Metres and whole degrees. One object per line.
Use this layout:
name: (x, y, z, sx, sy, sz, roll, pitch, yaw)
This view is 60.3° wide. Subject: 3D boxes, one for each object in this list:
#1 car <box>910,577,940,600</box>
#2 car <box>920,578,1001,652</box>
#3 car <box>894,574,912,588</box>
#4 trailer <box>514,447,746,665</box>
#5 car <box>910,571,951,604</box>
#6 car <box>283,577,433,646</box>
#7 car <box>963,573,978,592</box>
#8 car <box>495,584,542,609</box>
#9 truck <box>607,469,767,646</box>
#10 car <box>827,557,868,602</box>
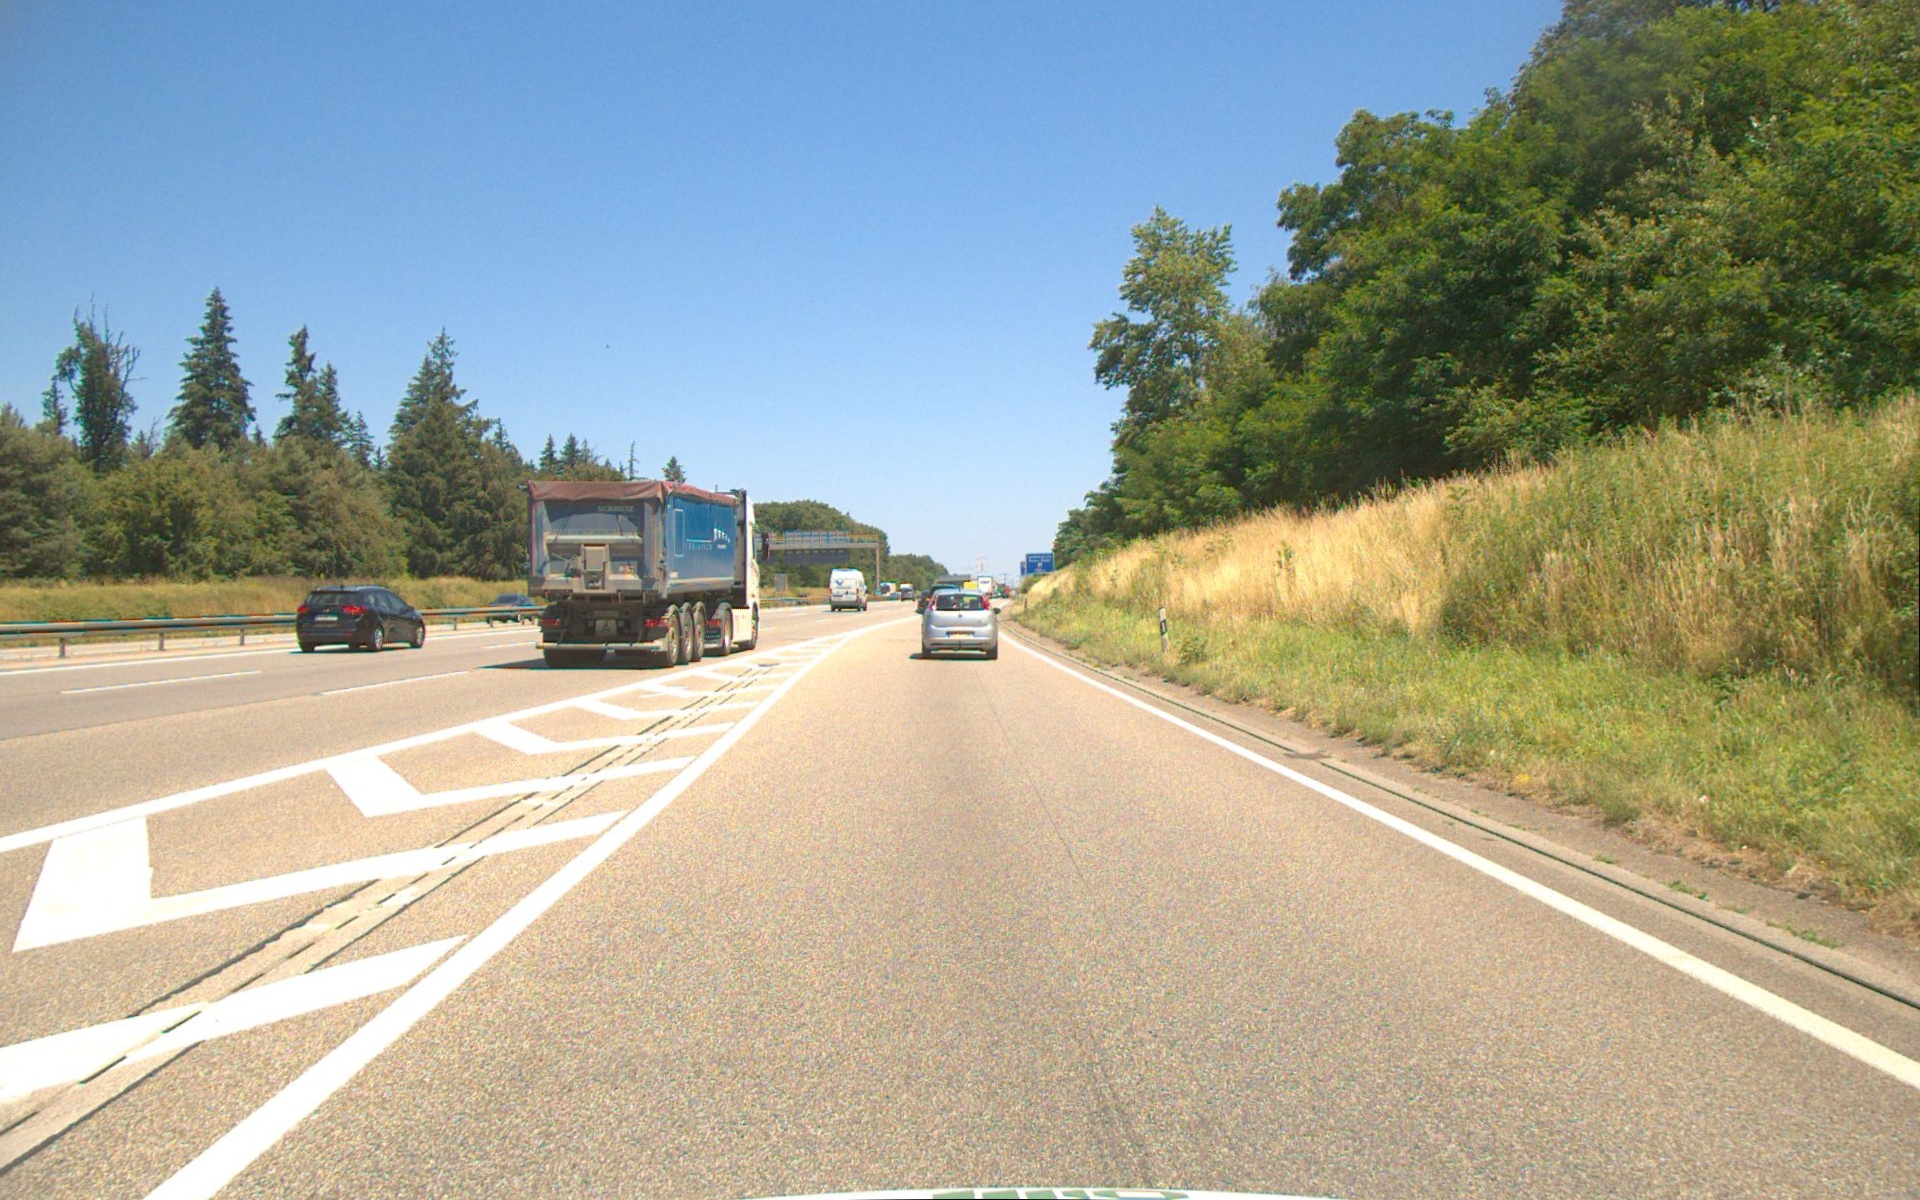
car: (-2.366, -0.783, 113.011, 1.855, 1.495, 4.262, 1, 1, 1)
car: (0.016, 0.285, 36.448, 1.684, 1.517, 3.737, 0, 1, 0)
car: (-7.585, -2.578, 220.911, 2.112, 1.846, 4.860, 0, 1, 0)
trailer: (-6.403, -0.855, 33.721, 2.680, 3.824, 9.111, 0, 1, 1)
car: (-1.578, -0.673, 90.321, 1.793, 1.701, 4.003, 1, 0, 5)
car: (-14.044, 0.223, 38.875, 1.668, 1.500, 4.598, -1, 1, 2)
car: (1.175, -1.913, 178.601, 1.578, 2.049, 4.001, 1, 1, 1)
car: (-25.056, -0.224, 93.994, 1.530, 1.380, 3.568, -1, 1, 2)
truck: (-6.266, -0.972, 38.827, 2.629, 3.824, 5.945, 0, 1, 1)
car: (-7.679, -1.390, 113.050, 2.213, 3.002, 6.115, 1, 1, 1)
